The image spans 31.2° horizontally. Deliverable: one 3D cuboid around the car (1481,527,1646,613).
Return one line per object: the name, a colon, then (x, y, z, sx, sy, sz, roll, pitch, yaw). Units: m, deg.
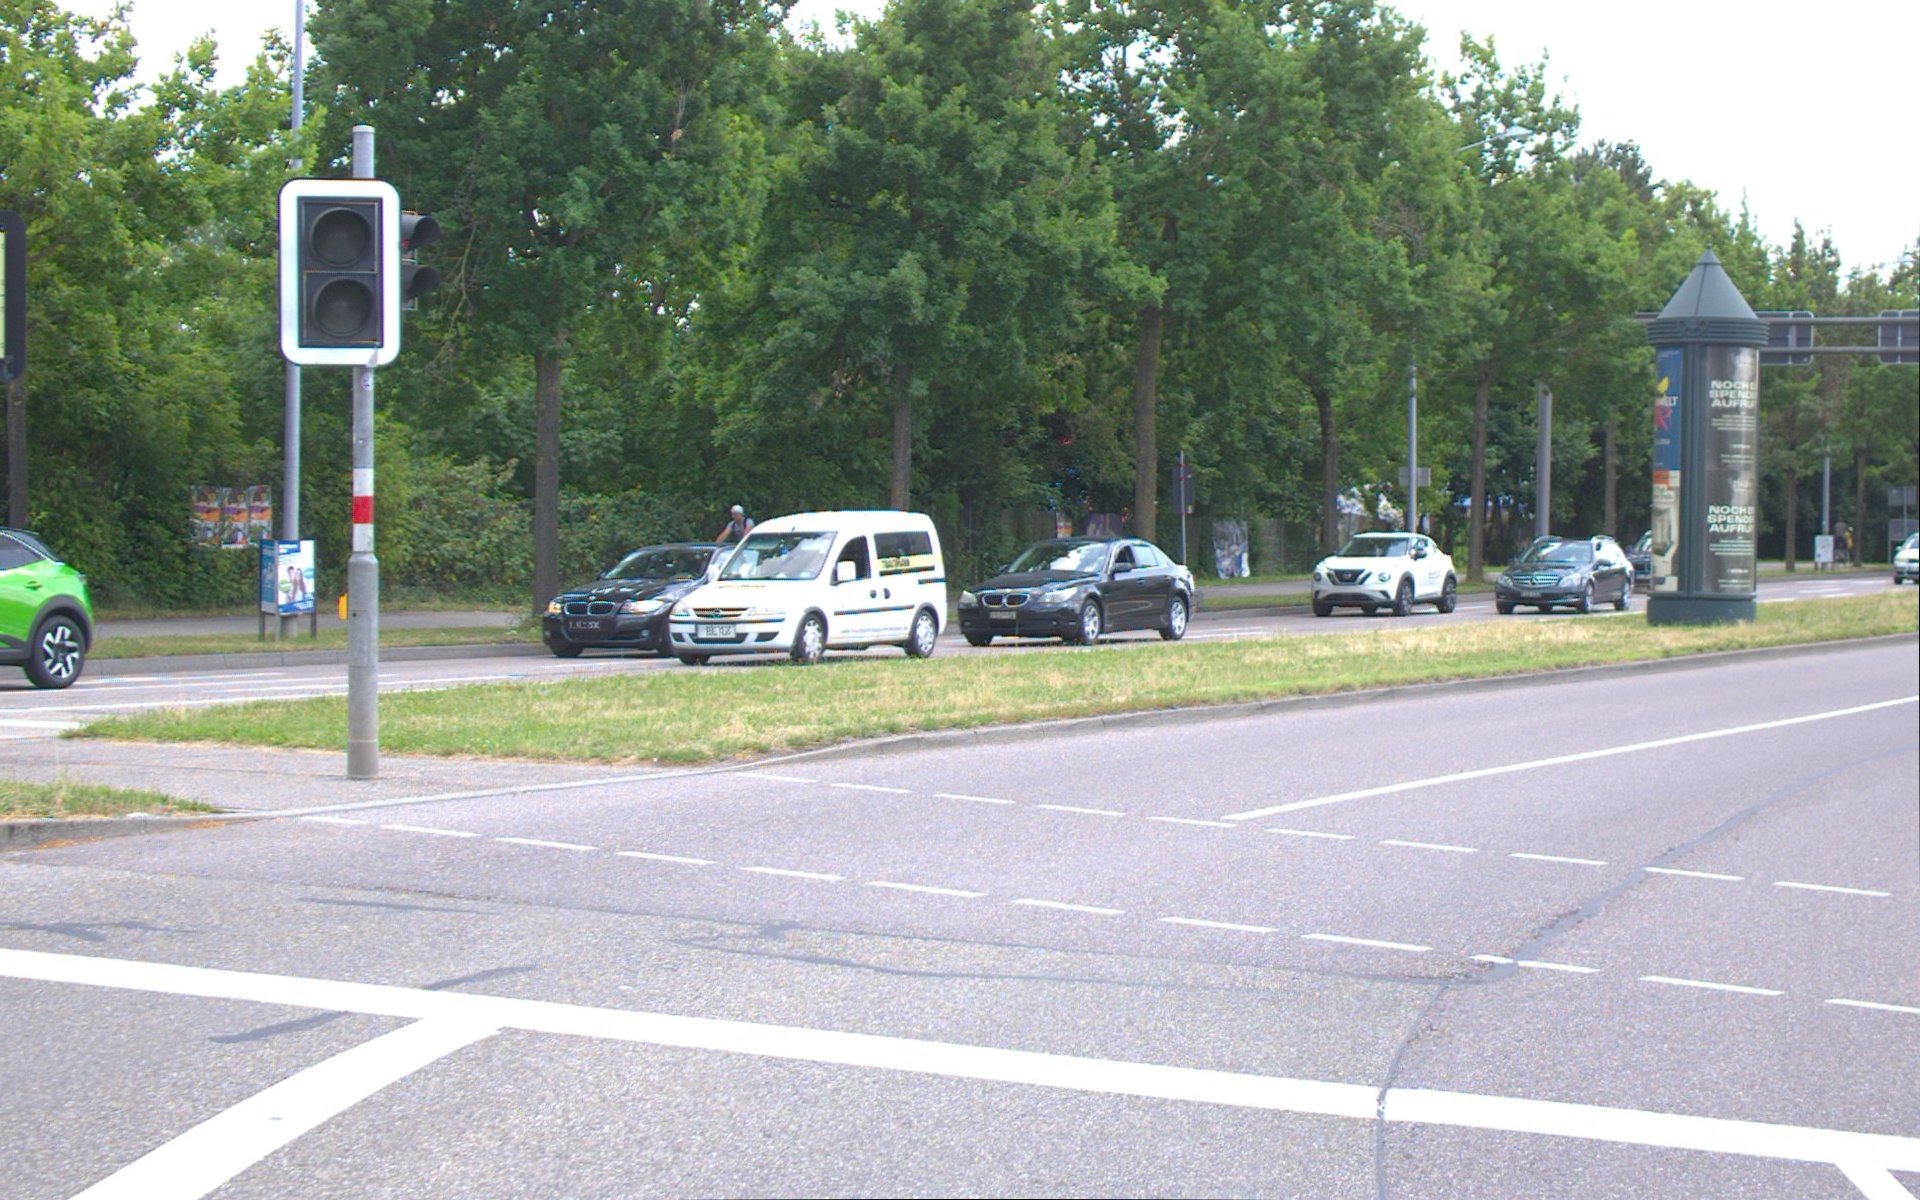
car: (11.670, -0.607, 66.226, 1.725, 1.585, 5.006, 1, 1, 27)

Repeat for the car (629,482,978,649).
car: (-1.703, -0.388, 39.408, 1.840, 1.793, 4.780, 0, 0, 28)

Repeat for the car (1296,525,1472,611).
car: (8.026, -0.619, 64.764, 1.913, 1.535, 4.362, 1, 1, 27)

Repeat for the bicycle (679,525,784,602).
bicycle: (-3.789, -0.601, 57.093, 0.762, 1.215, 2.013, 4, 2, 27)

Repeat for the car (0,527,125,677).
car: (-9.507, 0.015, 30.764, 1.618, 1.343, 4.164, 0, 0, 28)

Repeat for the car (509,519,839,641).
car: (-3.482, -0.254, 42.676, 1.841, 1.438, 4.411, 0, 0, 31)

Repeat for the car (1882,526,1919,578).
car: (27.228, -1.352, 96.452, 1.766, 1.435, 4.303, 1, 1, 27)

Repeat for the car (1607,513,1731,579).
car: (17.511, -1.343, 84.750, 1.766, 1.571, 5.024, 1, 1, 26)

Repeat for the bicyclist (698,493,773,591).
bicyclist: (-3.737, -0.963, 57.159, 0.831, 1.559, 0.882, 4, 2, 27)

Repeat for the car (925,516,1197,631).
car: (1.434, -0.355, 46.662, 1.840, 1.475, 4.746, 0, 0, 27)
